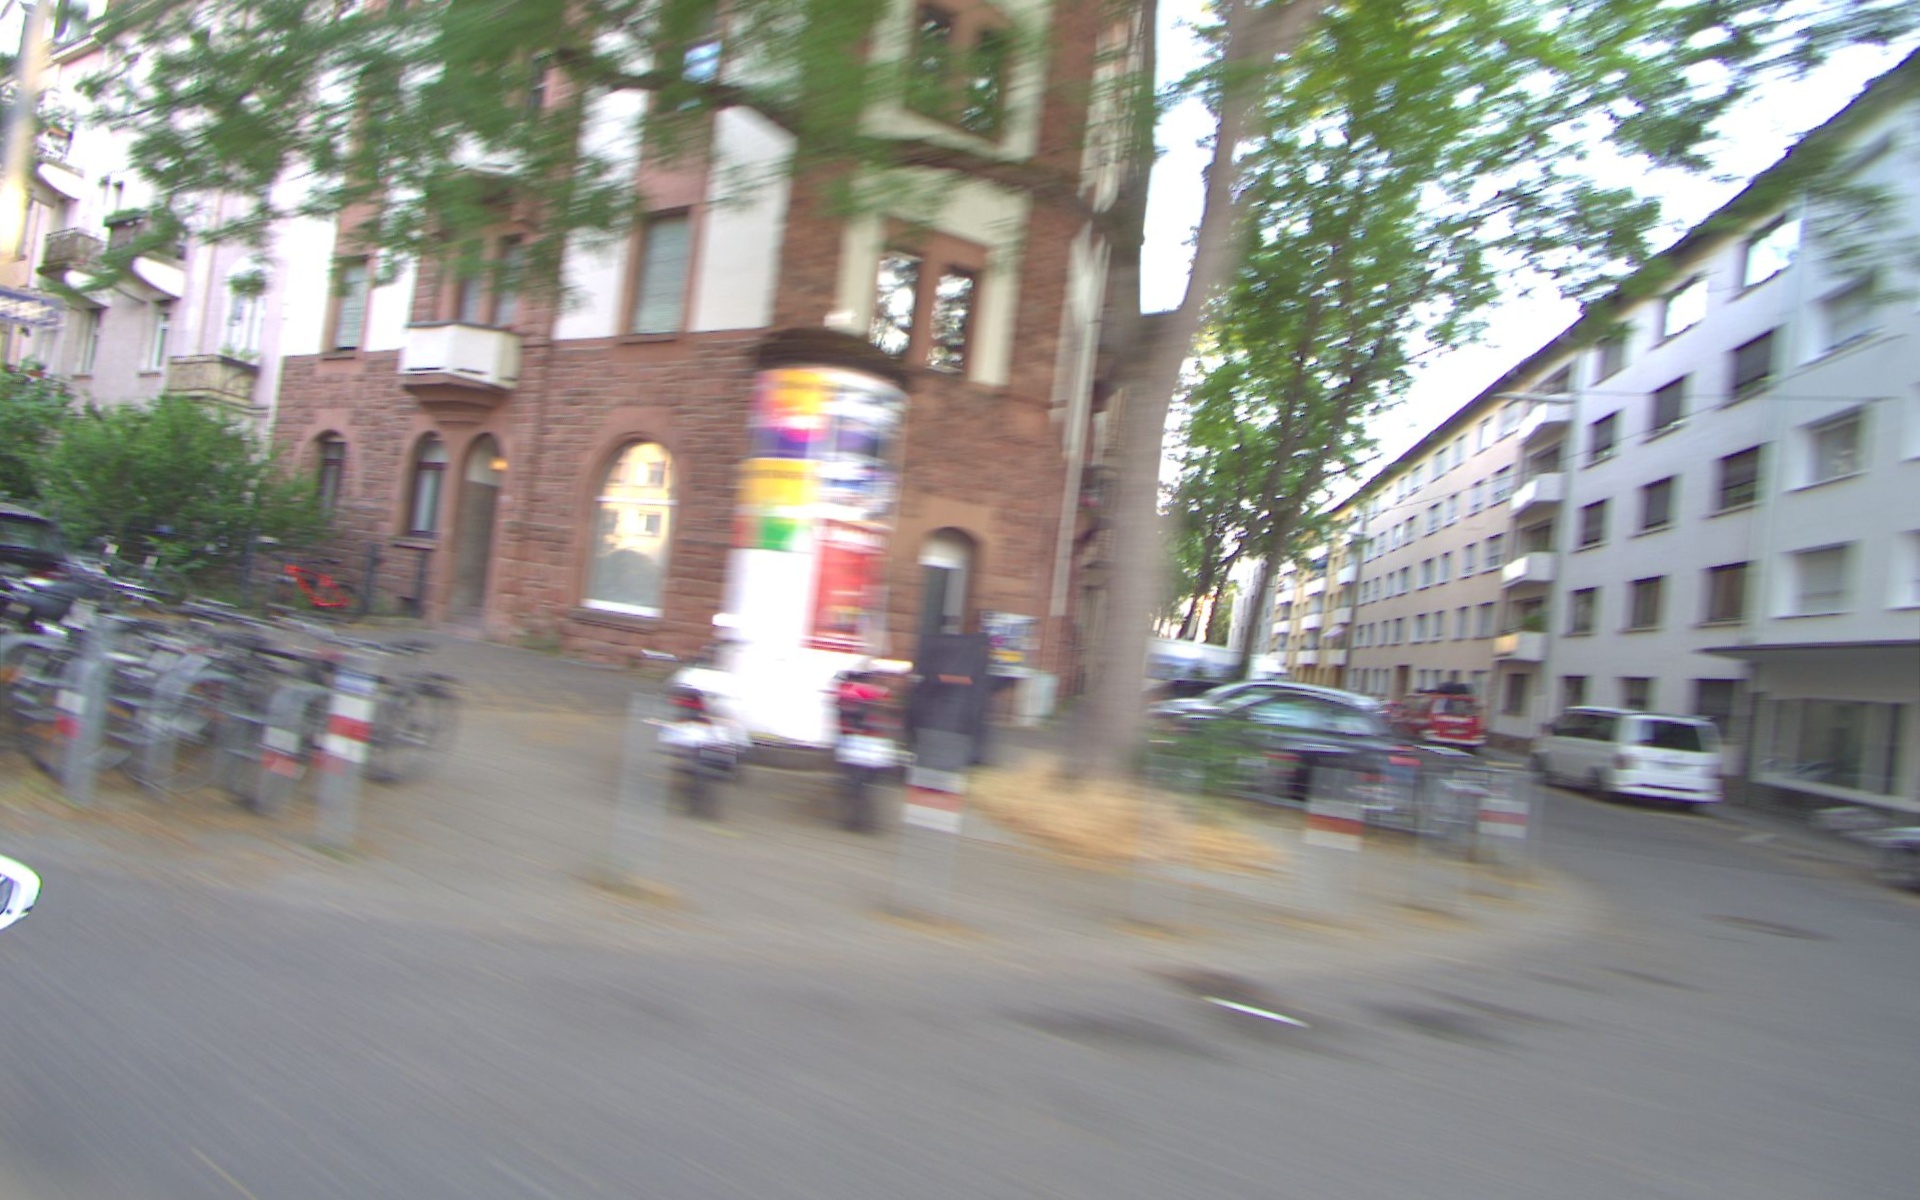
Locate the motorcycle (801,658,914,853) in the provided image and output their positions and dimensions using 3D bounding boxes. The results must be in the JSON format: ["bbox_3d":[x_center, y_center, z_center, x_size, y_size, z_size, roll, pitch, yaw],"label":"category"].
[{"bbox_3d":[-0.844,1.098,7.740,0.431,1.092,2.207,8,-1,-13],"label":"motorcycle"}]

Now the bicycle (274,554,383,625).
[{"bbox_3d":[-10.716,-0.155,17.116,0.325,1.046,1.512,8,0,29],"label":"bicycle"}]

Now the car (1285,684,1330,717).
[{"bbox_3d":[21.944,6.319,63.684,1.871,1.763,4.015,7,-3,9],"label":"car"}]

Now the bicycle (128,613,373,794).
[{"bbox_3d":[-4.357,0.618,6.274,0.324,0.974,1.229,8,-1,14],"label":"bicycle"}]

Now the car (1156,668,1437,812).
[{"bbox_3d":[5.292,2.170,16.250,3.924,1.571,1.828,7,-2,14],"label":"car"}]

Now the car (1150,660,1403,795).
[{"bbox_3d":[5.707,2.271,18.542,4.064,1.740,1.779,7,-2,14],"label":"car"}]

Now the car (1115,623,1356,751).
[{"bbox_3d":[6.809,2.136,25.390,5.415,2.329,2.003,8,-1,10],"label":"car"}]

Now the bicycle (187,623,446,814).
[{"bbox_3d":[-3.835,0.692,6.084,0.325,1.000,1.227,8,0,27],"label":"bicycle"}]

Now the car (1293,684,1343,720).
[{"bbox_3d":[20.861,5.938,58.796,1.871,1.763,4.015,7,-3,9],"label":"car"}]

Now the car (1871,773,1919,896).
[{"bbox_3d":[12.593,2.948,11.052,1.625,1.444,4.243,7,-3,8],"label":"car"}]

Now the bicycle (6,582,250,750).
[{"bbox_3d":[-5.394,0.423,6.605,0.324,0.959,1.229,8,-1,9],"label":"bicycle"}]

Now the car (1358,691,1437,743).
[{"bbox_3d":[18.081,4.801,41.742,1.871,1.763,4.015,7,-3,9],"label":"car"}]

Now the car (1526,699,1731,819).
[{"bbox_3d":[14.645,3.405,22.402,1.872,2.041,4.484,7,-3,8],"label":"car"}]

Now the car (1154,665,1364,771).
[{"bbox_3d":[6.218,2.455,21.248,3.924,1.534,1.861,7,-4,14],"label":"car"}]

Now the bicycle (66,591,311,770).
[{"bbox_3d":[-4.771,0.483,6.310,0.324,0.968,1.229,8,-1,9],"label":"bicycle"}]

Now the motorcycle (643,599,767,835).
[{"bbox_3d":[-1.913,0.757,7.534,0.576,1.424,2.206,8,-1,-15],"label":"motorcycle"}]

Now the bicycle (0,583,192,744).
[{"bbox_3d":[-5.955,0.409,6.848,0.324,0.962,1.229,8,-1,4],"label":"bicycle"}]

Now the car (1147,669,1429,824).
[{"bbox_3d":[4.442,1.956,13.991,3.368,1.494,1.684,7,-2,14],"label":"car"}]

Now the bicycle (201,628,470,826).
[{"bbox_3d":[-3.566,0.712,5.843,0.325,0.999,1.226,8,0,29],"label":"bicycle"}]

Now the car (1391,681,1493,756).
[{"bbox_3d":[17.050,4.129,35.843,1.871,2.224,4.484,7,-3,9],"label":"car"}]

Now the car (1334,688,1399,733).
[{"bbox_3d":[19.357,5.251,48.075,1.871,1.763,4.015,7,-3,9],"label":"car"}]

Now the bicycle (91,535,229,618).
[{"bbox_3d":[-11.868,-0.324,14.972,0.325,1.046,1.512,8,0,29],"label":"bicycle"}]

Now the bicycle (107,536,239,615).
[{"bbox_3d":[-12.118,-0.359,15.533,0.325,1.046,1.512,8,0,29],"label":"bicycle"}]
